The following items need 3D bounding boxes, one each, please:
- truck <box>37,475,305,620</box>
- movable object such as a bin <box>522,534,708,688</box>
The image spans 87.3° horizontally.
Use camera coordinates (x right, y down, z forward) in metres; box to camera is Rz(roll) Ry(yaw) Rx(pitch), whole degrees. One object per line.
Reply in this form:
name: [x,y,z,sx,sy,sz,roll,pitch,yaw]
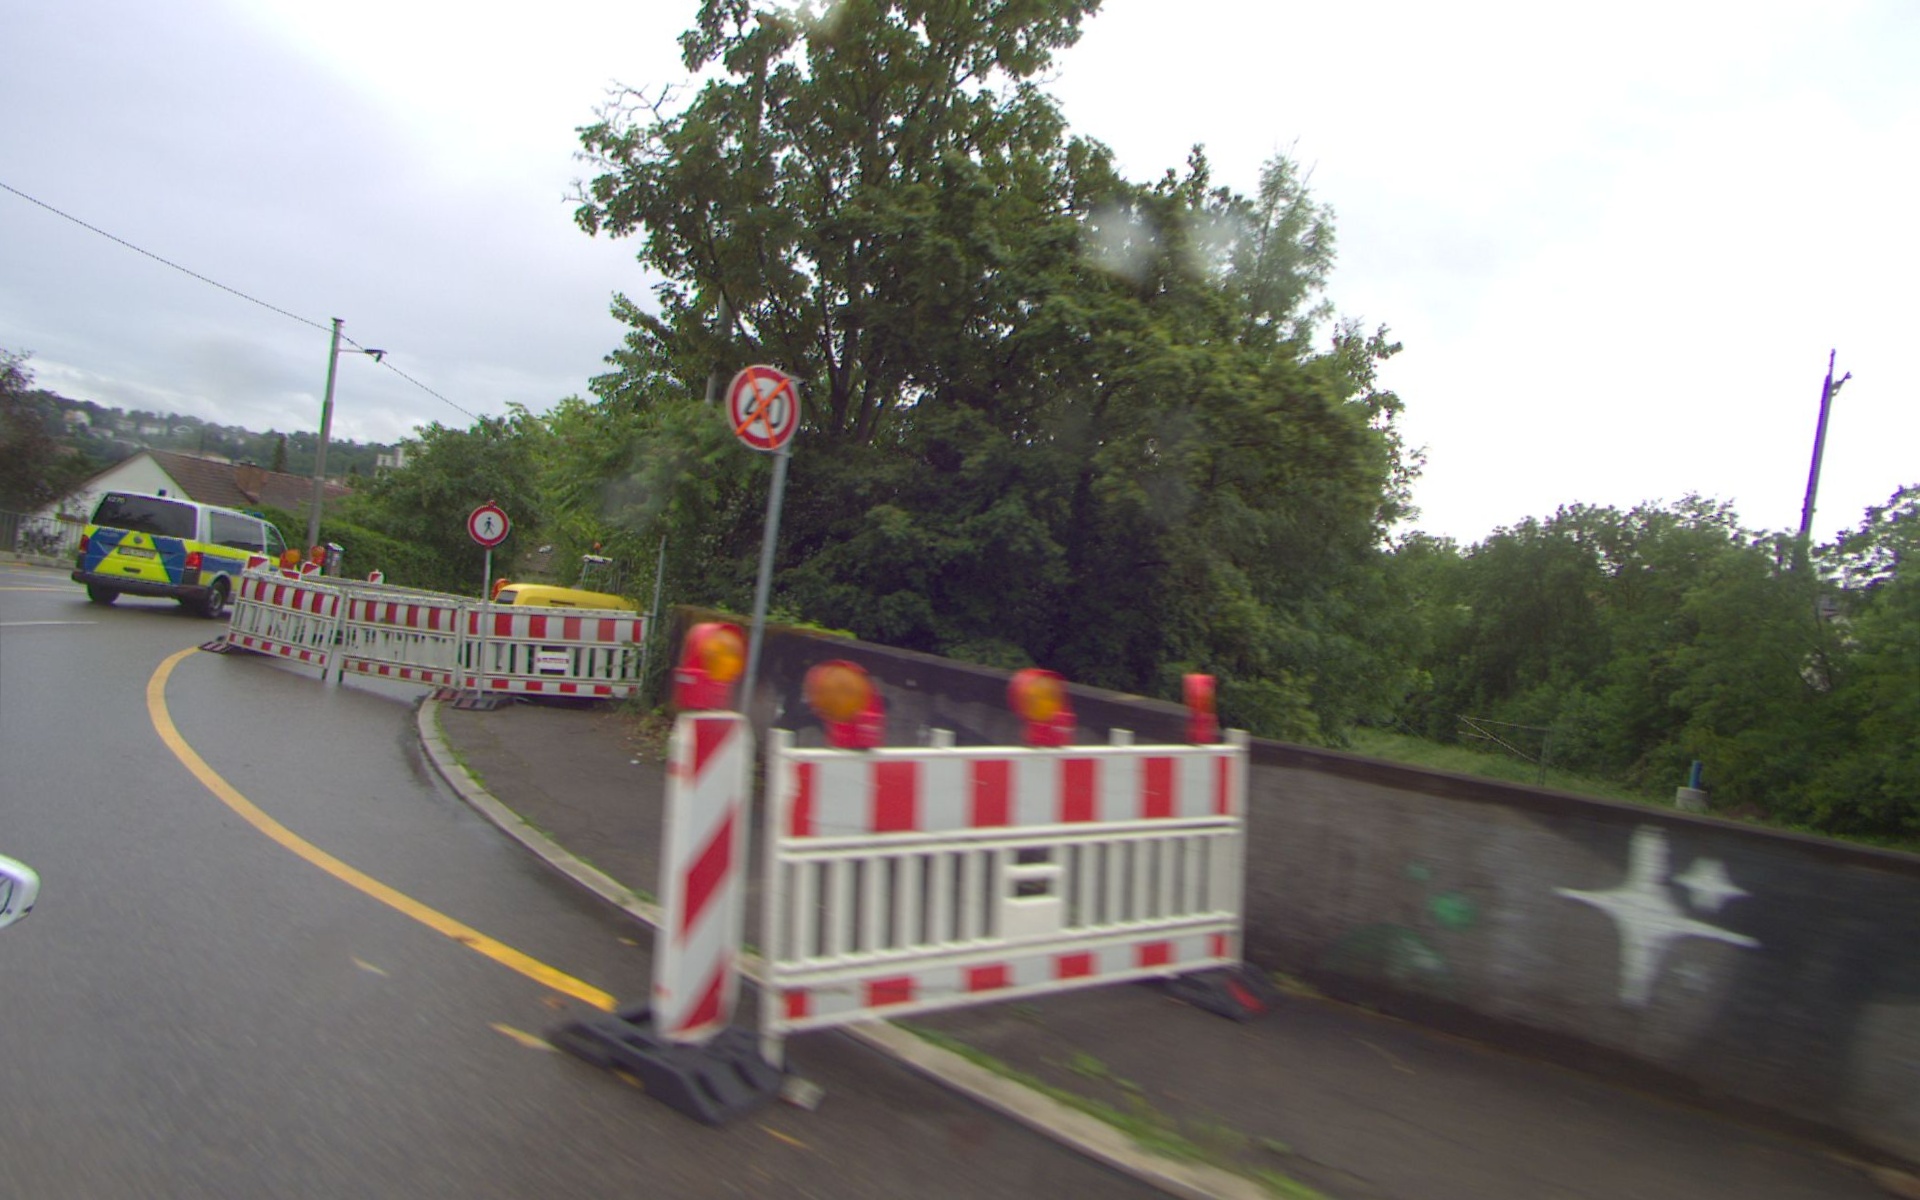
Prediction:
truck: [-14.017,-0.862,18.304,1.969,2.038,4.720,7,-1,-15]
movable object such as a bin: [-8.675,0.243,25.972,2.043,3.268,5.282,9,2,7]
